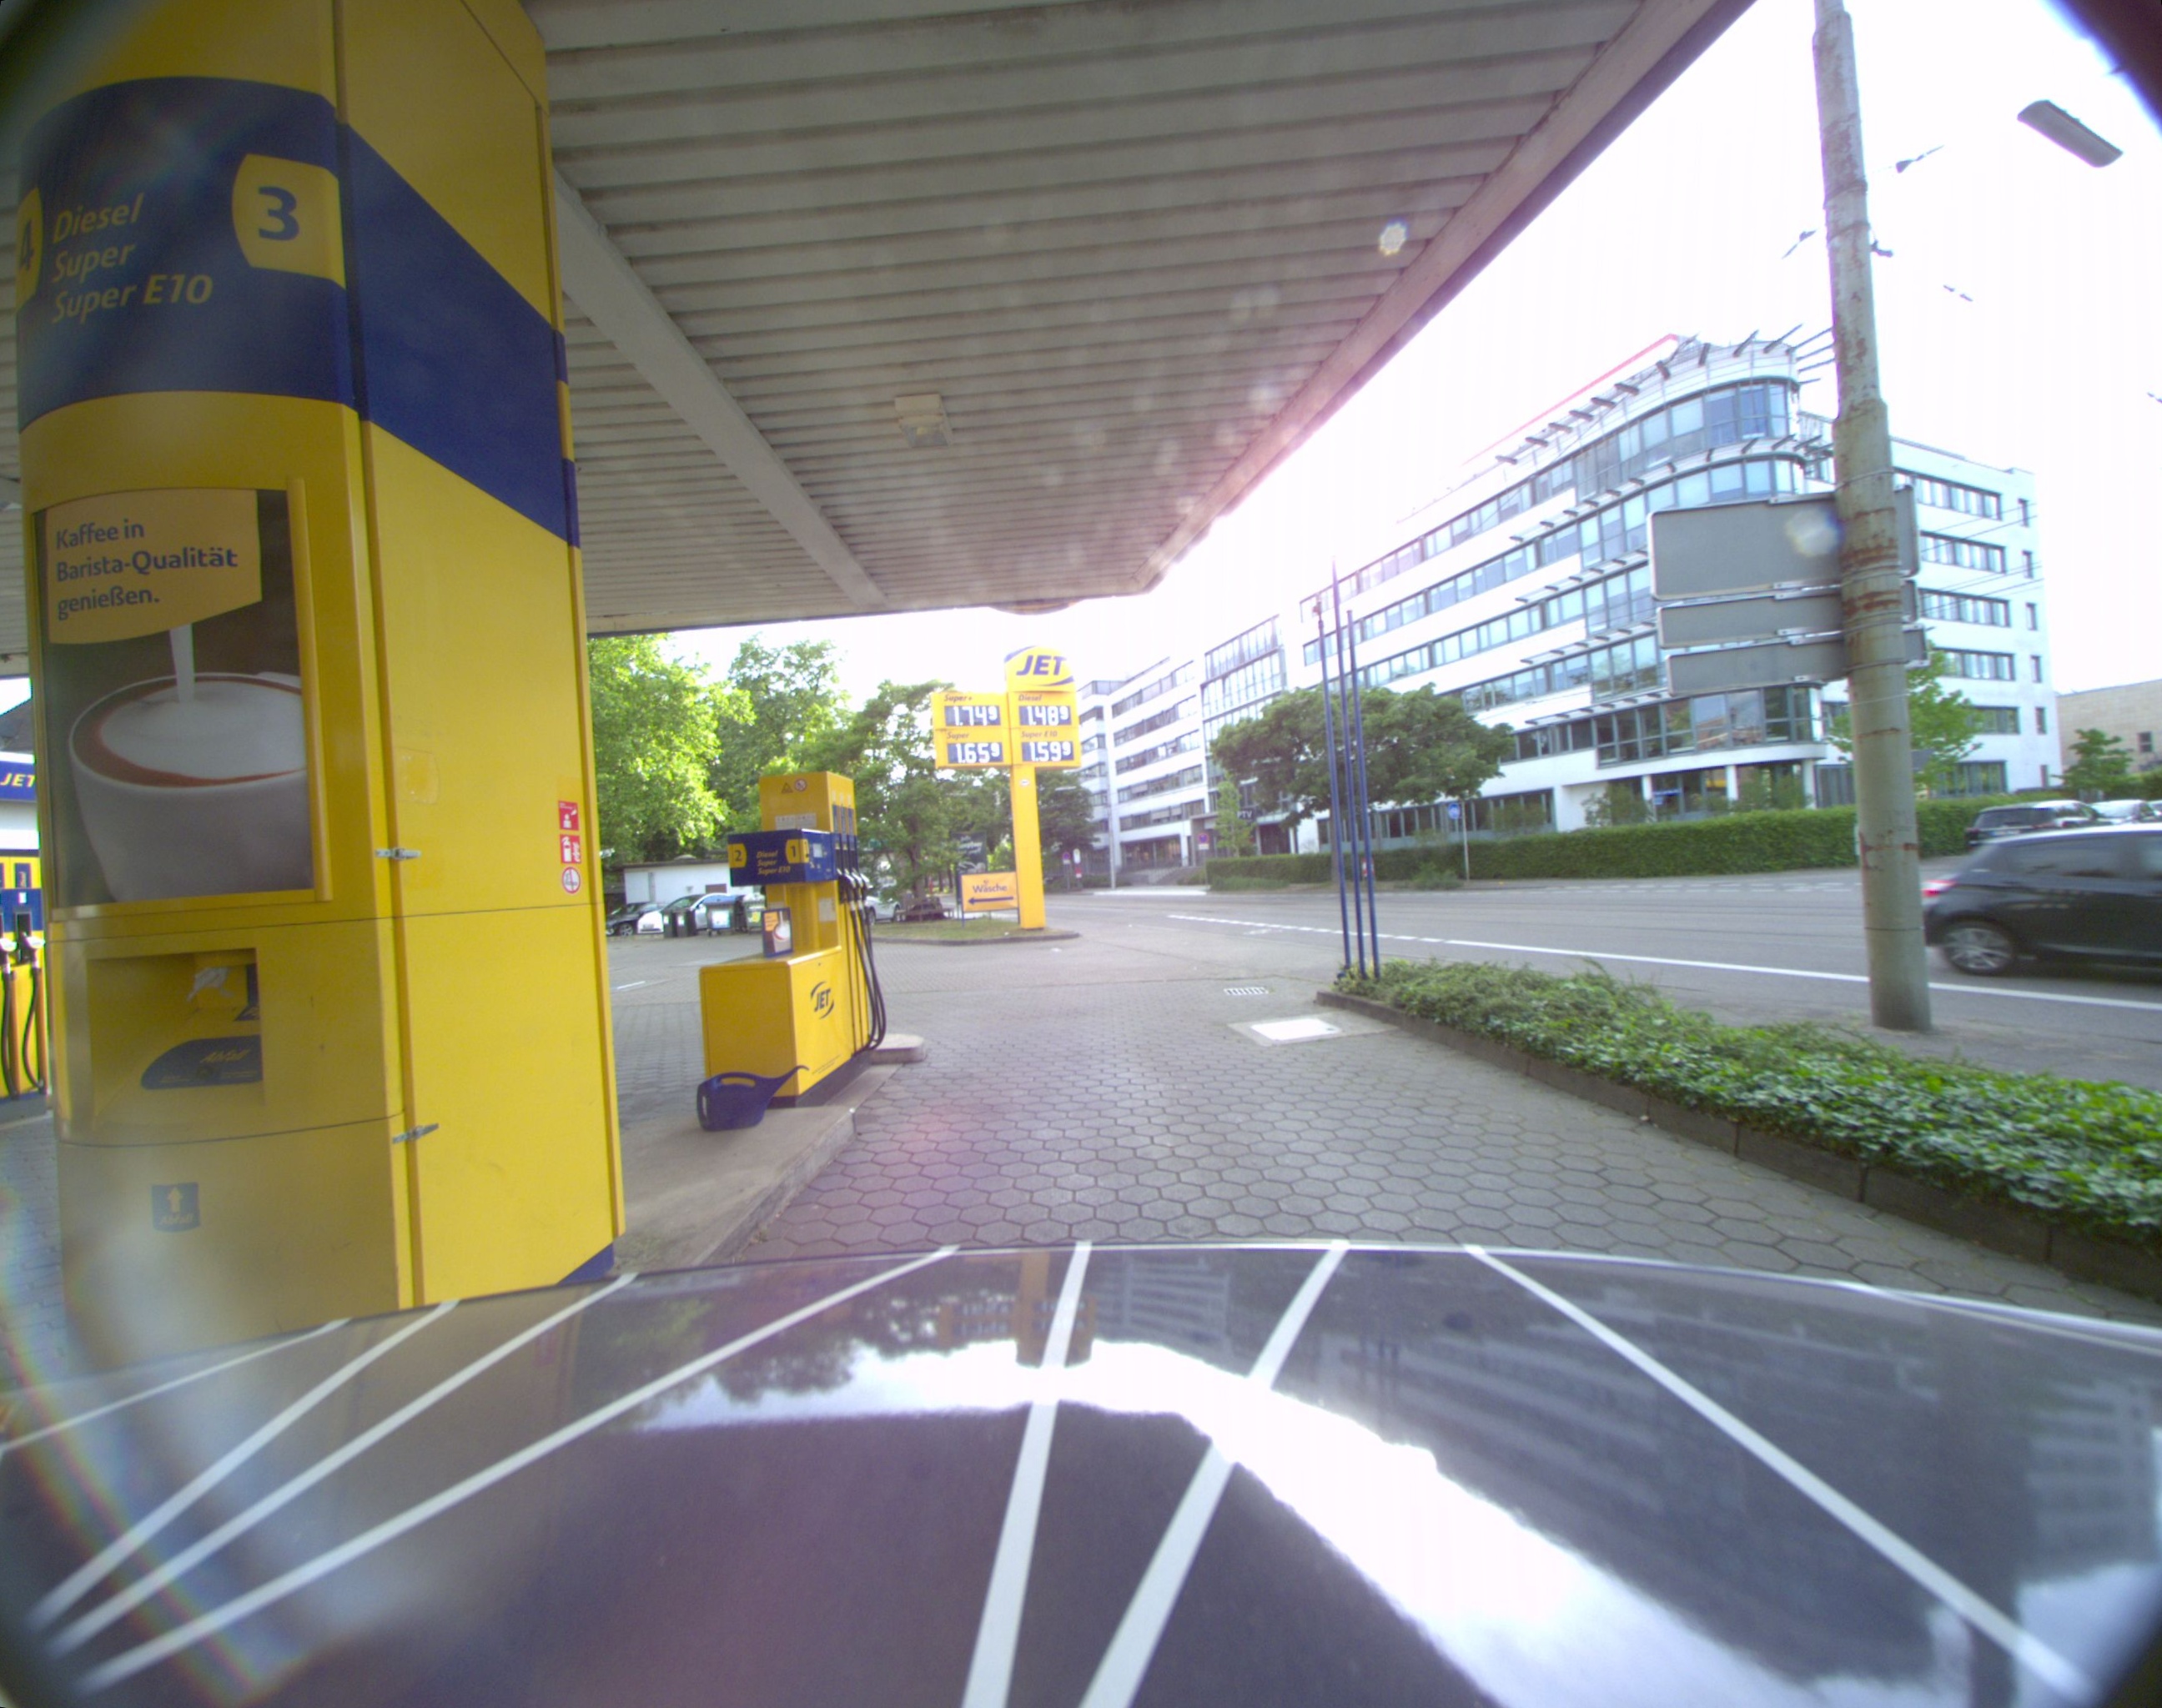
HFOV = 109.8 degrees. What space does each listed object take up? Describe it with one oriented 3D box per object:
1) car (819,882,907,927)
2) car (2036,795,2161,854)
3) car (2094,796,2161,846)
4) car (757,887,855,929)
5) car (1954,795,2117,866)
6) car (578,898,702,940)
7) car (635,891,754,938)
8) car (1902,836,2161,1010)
[{"bbox_3d":[-8.628,1.993,30.511,1.772,1.591,4.398,-4,-3,6],"label":"car"},{"bbox_3d":[32.553,-0.953,24.102,4.296,1.530,1.945,-4,-1,-27],"label":"car"},{"bbox_3d":[37.135,-1.210,26.154,4.296,1.509,1.945,-4,-1,-27],"label":"car"},{"bbox_3d":[-11.646,2.258,32.501,1.771,1.591,4.400,-4,-4,13],"label":"car"},{"bbox_3d":[27.282,-0.674,21.700,4.296,1.681,2.010,-4,-1,-27],"label":"car"},{"bbox_3d":[-17.786,2.583,30.916,1.771,1.367,4.398,-2,-1,14],"label":"car"},{"bbox_3d":[-15.284,2.357,30.323,1.771,1.591,4.398,-2,-1,14],"label":"car"},{"bbox_3d":[10.486,0.590,6.821,1.691,1.463,3.807,-5,0,-17],"label":"car"}]
